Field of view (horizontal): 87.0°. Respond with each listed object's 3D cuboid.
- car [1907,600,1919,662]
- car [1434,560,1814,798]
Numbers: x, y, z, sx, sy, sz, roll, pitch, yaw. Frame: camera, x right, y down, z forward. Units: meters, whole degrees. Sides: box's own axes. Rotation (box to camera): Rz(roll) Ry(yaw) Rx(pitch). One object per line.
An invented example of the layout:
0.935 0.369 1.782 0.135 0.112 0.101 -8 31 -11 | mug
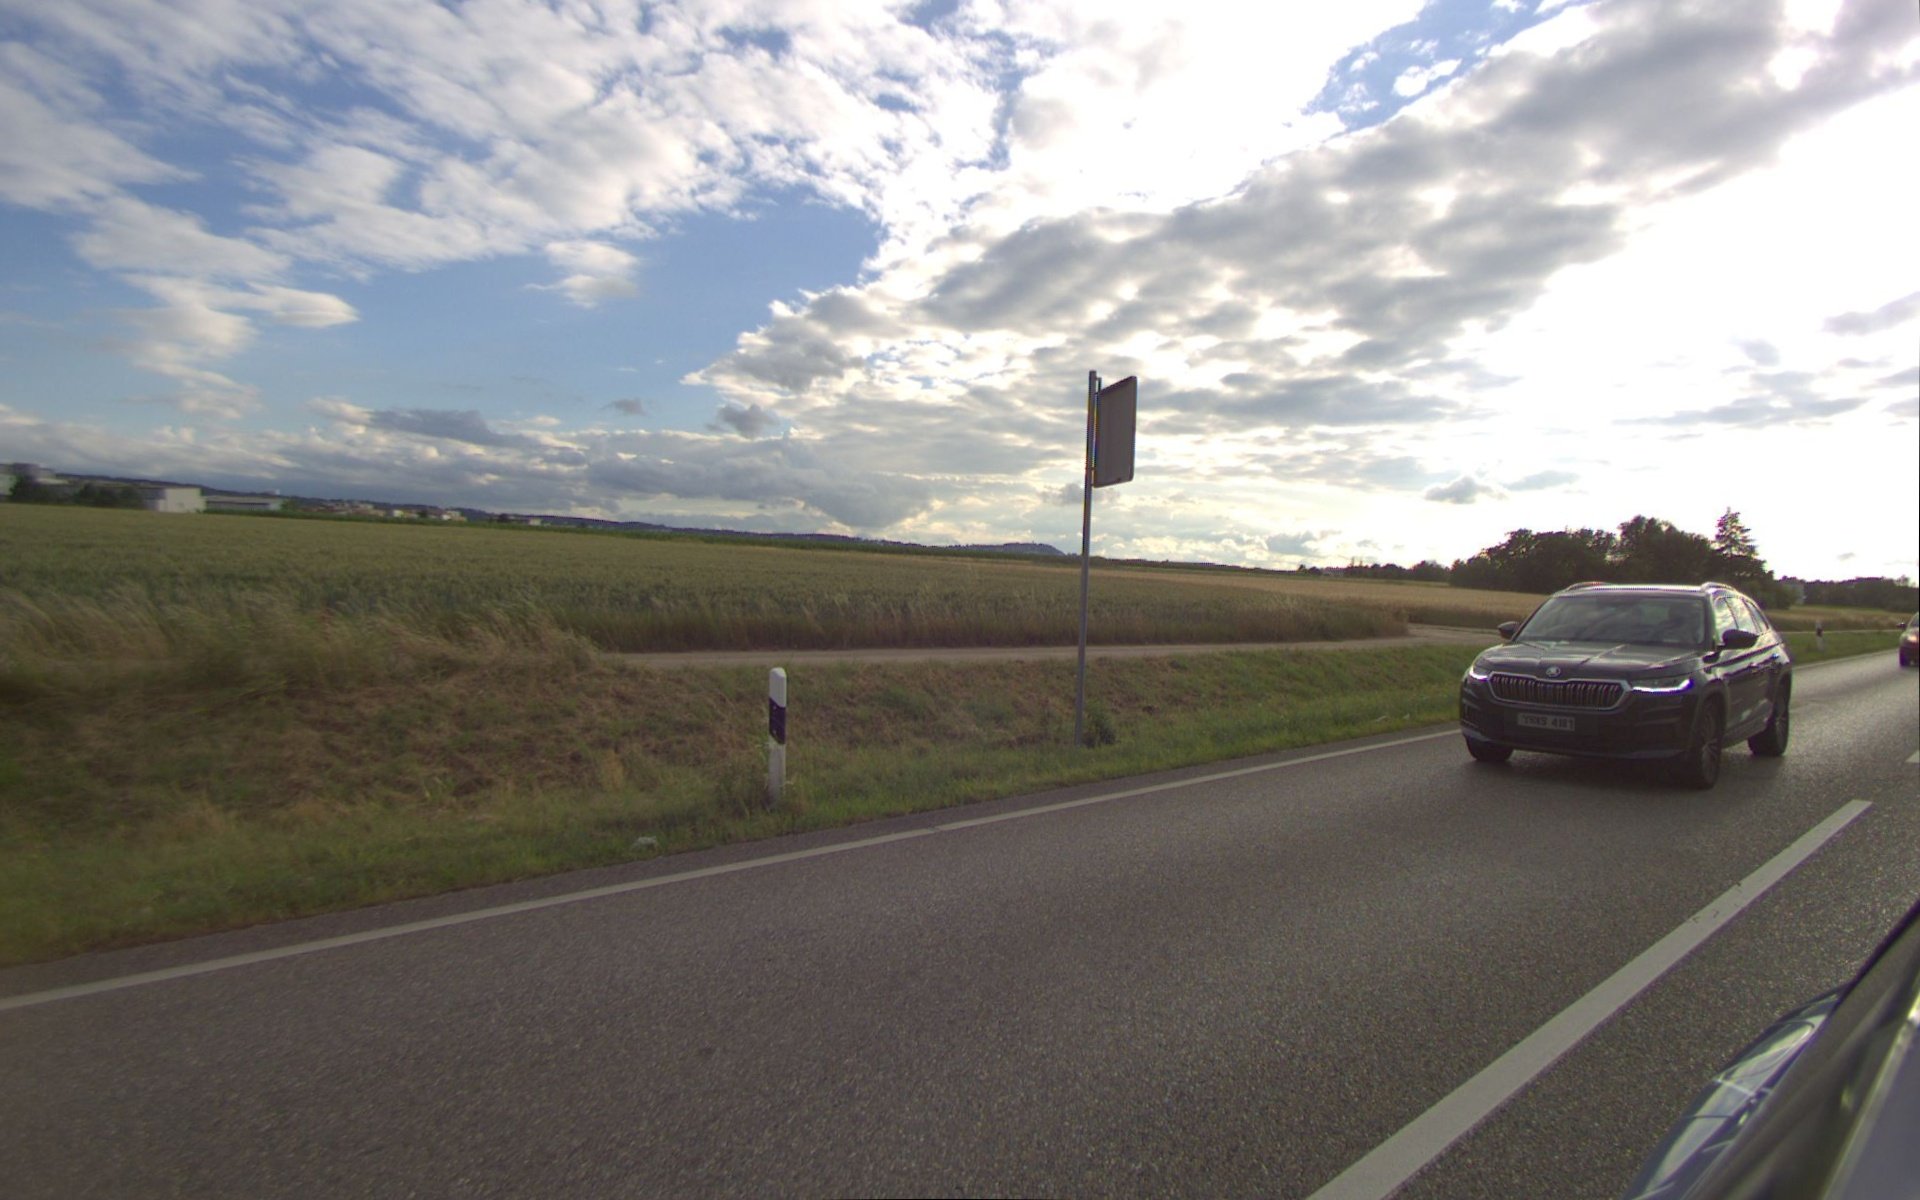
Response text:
24.992 0.751 25.175 3.840 1.475 1.710 -1 1 -41 | car
6.393 0.544 9.529 4.477 1.730 1.840 -1 0 -41 | car
